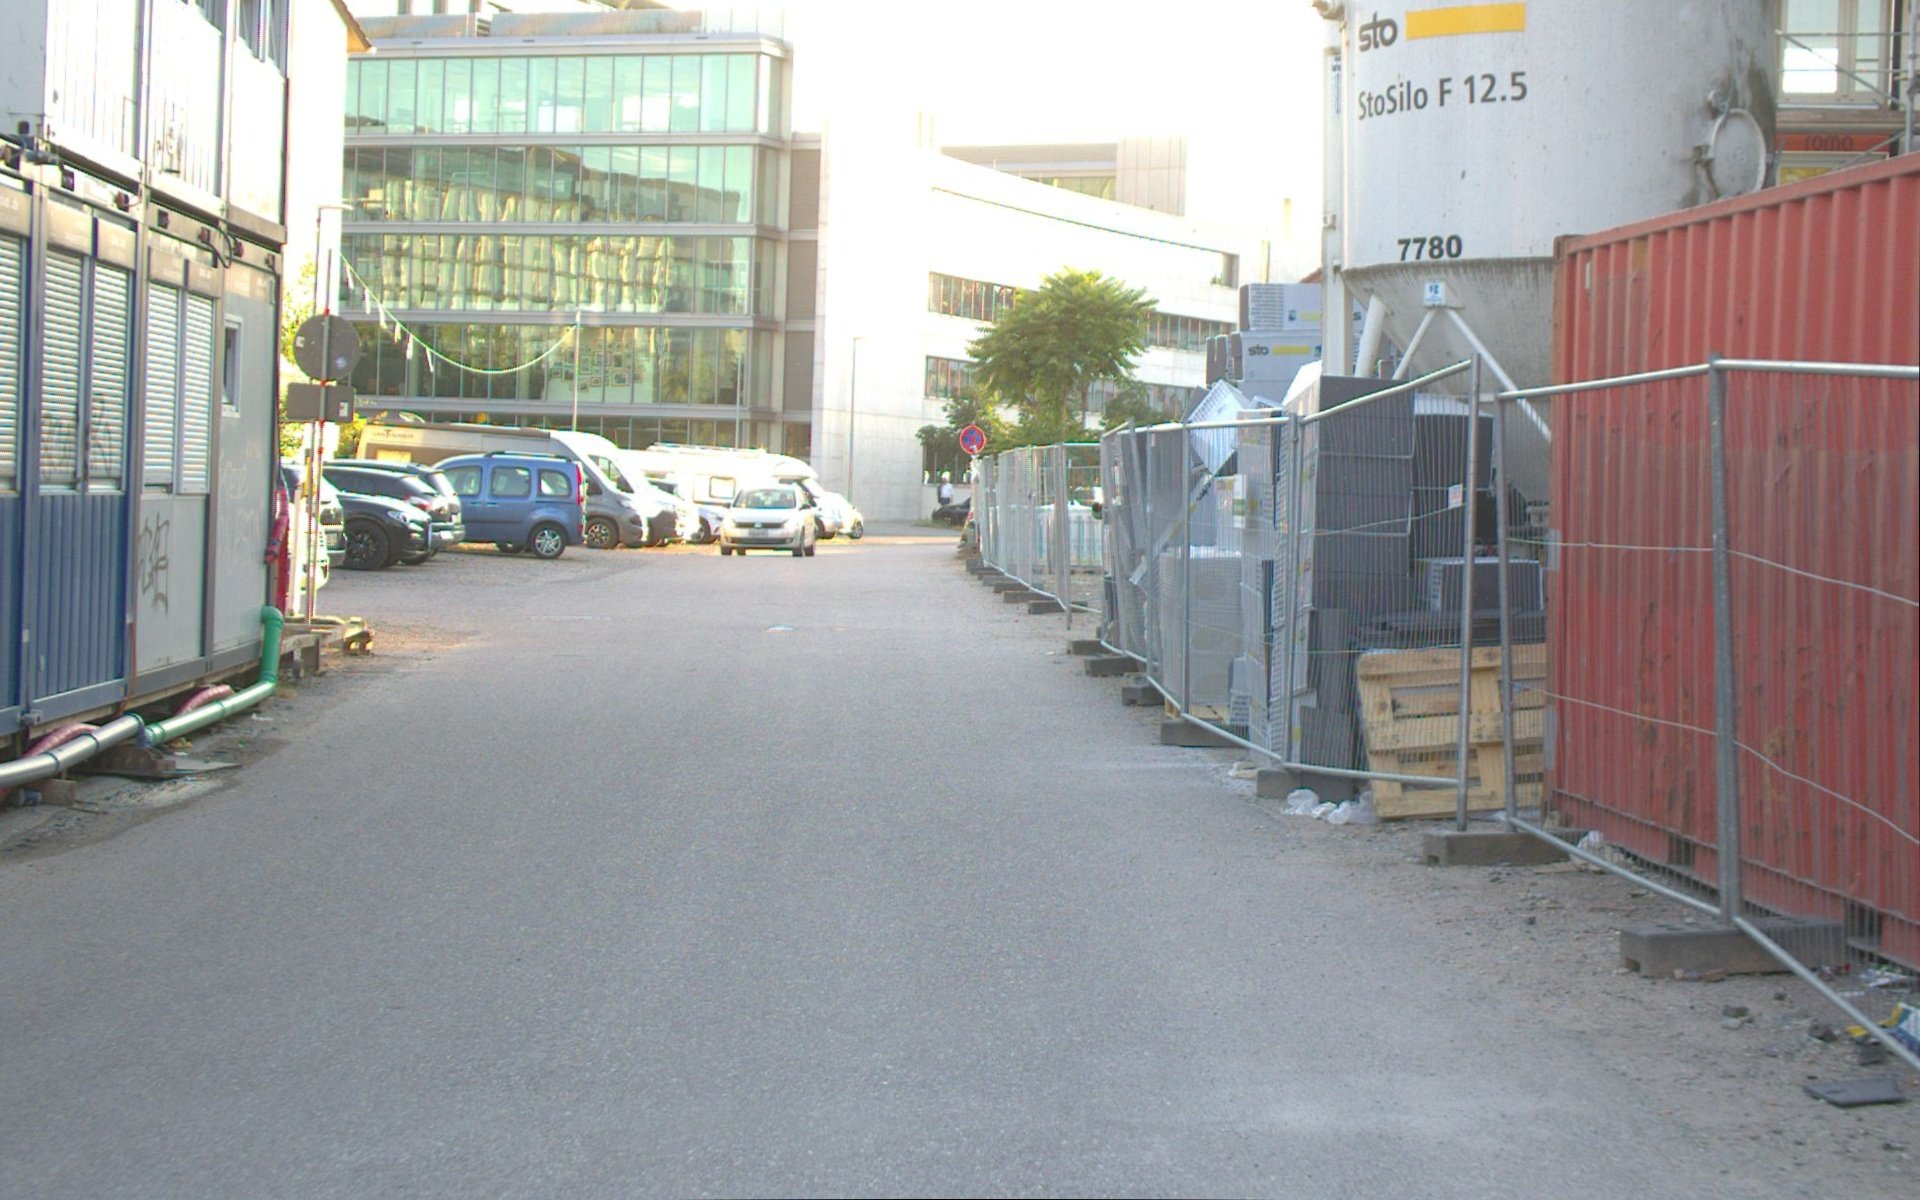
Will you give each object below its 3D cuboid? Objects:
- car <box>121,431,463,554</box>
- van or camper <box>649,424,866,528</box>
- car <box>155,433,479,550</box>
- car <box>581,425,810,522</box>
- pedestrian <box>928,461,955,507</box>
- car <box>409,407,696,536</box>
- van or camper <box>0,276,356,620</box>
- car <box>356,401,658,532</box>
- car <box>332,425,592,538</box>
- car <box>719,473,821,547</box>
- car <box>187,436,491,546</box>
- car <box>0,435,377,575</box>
[{"bbox_3d":[-9.792,-1.581,50.554,4.505,1.642,2.000,2,2,7],"label":"car"},{"bbox_3d":[-6.378,-3.917,108.592,6.336,2.968,2.292,3,2,11],"label":"van or camper"},{"bbox_3d":[-9.923,-1.687,53.227,4.505,1.642,2.000,2,2,7],"label":"car"},{"bbox_3d":[-7.278,-3.482,94.736,5.926,2.481,1.999,2,2,10],"label":"car"},{"bbox_3d":[-0.760,-4.712,139.817,0.764,1.810,0.844,2,2,22],"label":"pedestrian"},{"bbox_3d":[-9.344,-2.959,79.232,6.327,2.731,2.000,2,2,-1],"label":"car"},{"bbox_3d":[-10.352,-1.509,32.487,8.765,3.038,2.595,2,2,0],"label":"van or camper"},{"bbox_3d":[-9.913,-2.922,75.526,6.327,2.642,2.000,2,2,-1],"label":"car"},{"bbox_3d":[-8.907,-2.122,61.669,4.503,1.862,2.001,1,2,-7],"label":"car"},{"bbox_3d":[-4.085,-1.962,74.458,1.665,1.523,3.910,2,2,4],"label":"car"},{"bbox_3d":[-10.203,-1.801,56.650,4.505,1.642,2.000,2,2,7],"label":"car"},{"bbox_3d":[-10.053,-1.239,44.571,4.505,1.642,2.000,2,2,7],"label":"car"}]
